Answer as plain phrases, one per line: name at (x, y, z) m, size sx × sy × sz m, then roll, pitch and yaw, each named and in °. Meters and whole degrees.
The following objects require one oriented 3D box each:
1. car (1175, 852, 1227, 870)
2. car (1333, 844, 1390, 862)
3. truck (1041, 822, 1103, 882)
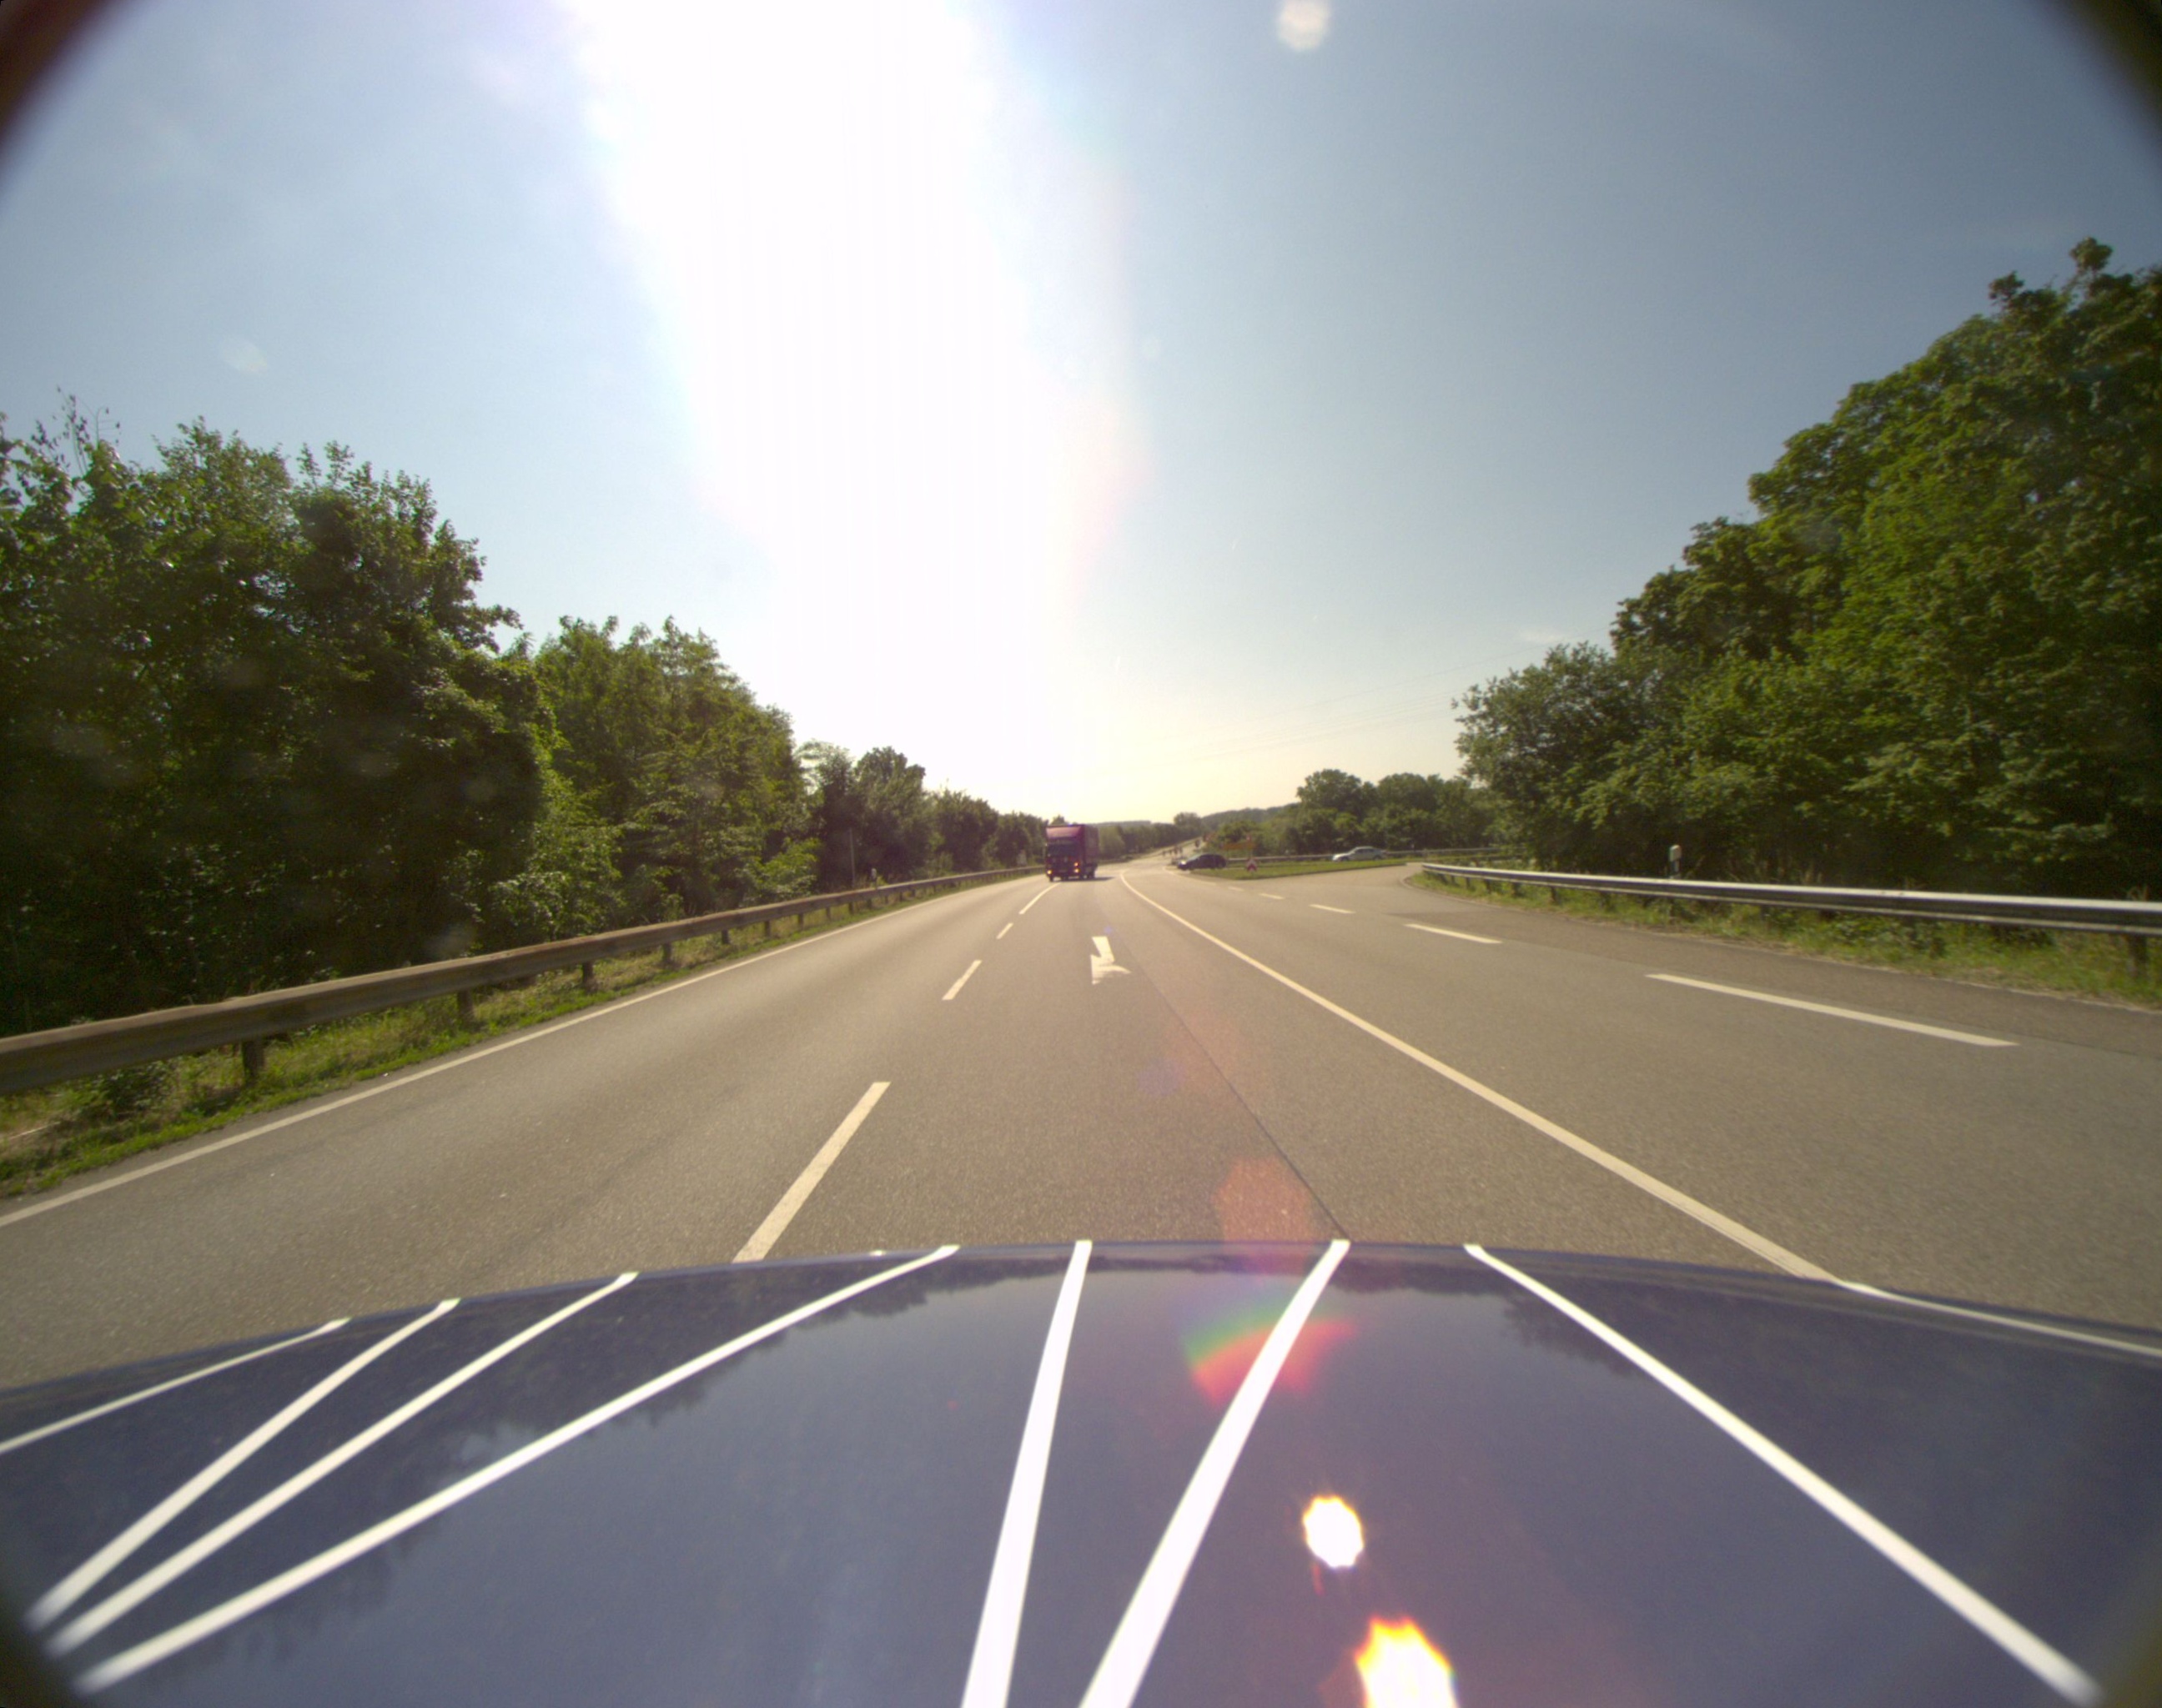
car at (10.380, 0.605, 65.940) m, size 4.002 × 1.406 × 1.786 m, roll -2°, pitch 0°, yaw -15°
car at (24.589, -0.077, 66.758) m, size 4.371 × 1.377 × 1.790 m, roll -2°, pitch 0°, yaw 10°
truck at (-0.427, -0.147, 52.091) m, size 2.687 × 3.640 × 9.268 m, roll -2°, pitch 0°, yaw 8°
